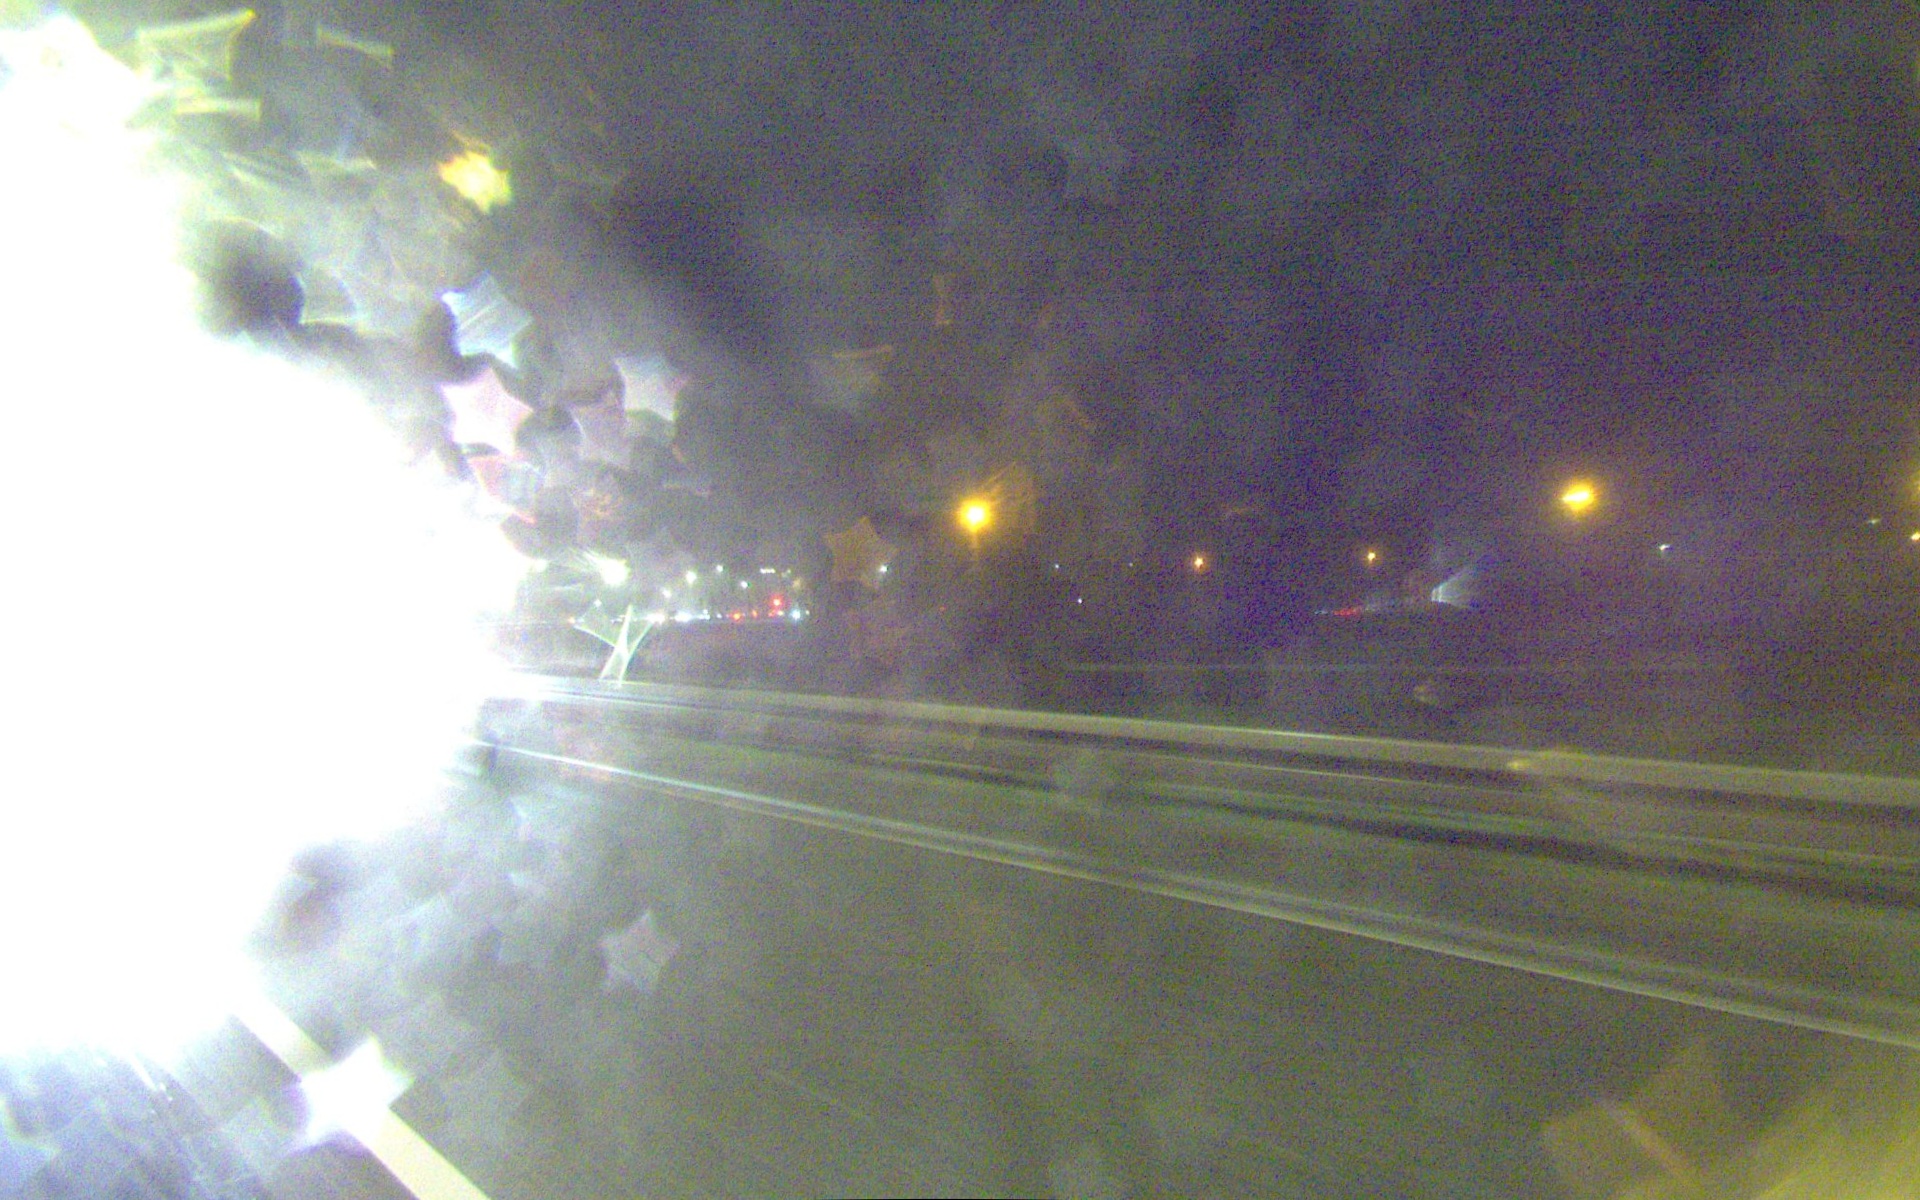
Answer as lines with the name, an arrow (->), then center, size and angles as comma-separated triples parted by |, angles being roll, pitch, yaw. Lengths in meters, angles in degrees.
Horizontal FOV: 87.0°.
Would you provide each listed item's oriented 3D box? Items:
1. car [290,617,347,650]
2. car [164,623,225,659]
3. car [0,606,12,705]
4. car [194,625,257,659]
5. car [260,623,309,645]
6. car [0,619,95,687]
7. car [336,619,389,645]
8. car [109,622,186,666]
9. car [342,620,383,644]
car -> -43.028, 2.231, 68.032 | 2.340, 2.107, 4.431 | -1, -1, -20
car -> -44.357, 2.364, 58.739 | 1.965, 1.949, 4.013 | -1, -1, -24
car -> -19.063, 1.066, 18.688 | 1.907, 1.887, 4.008 | 0, -2, -38
car -> -34.584, 1.957, 47.728 | 1.966, 1.495, 4.012 | 0, -2, -30
car -> -49.087, 2.479, 73.651 | 1.966, 1.495, 4.012 | -1, -1, -18
car -> -28.335, 1.600, 31.215 | 1.966, 1.949, 4.011 | 0, -2, -32
car -> -46.847, 2.482, 79.459 | 2.341, 1.950, 4.428 | -1, -1, -13
car -> -38.106, 2.031, 47.575 | 1.965, 1.949, 4.013 | -1, -1, -26
car -> -50.458, 2.669, 85.490 | 1.966, 1.949, 4.011 | -1, -1, -15
